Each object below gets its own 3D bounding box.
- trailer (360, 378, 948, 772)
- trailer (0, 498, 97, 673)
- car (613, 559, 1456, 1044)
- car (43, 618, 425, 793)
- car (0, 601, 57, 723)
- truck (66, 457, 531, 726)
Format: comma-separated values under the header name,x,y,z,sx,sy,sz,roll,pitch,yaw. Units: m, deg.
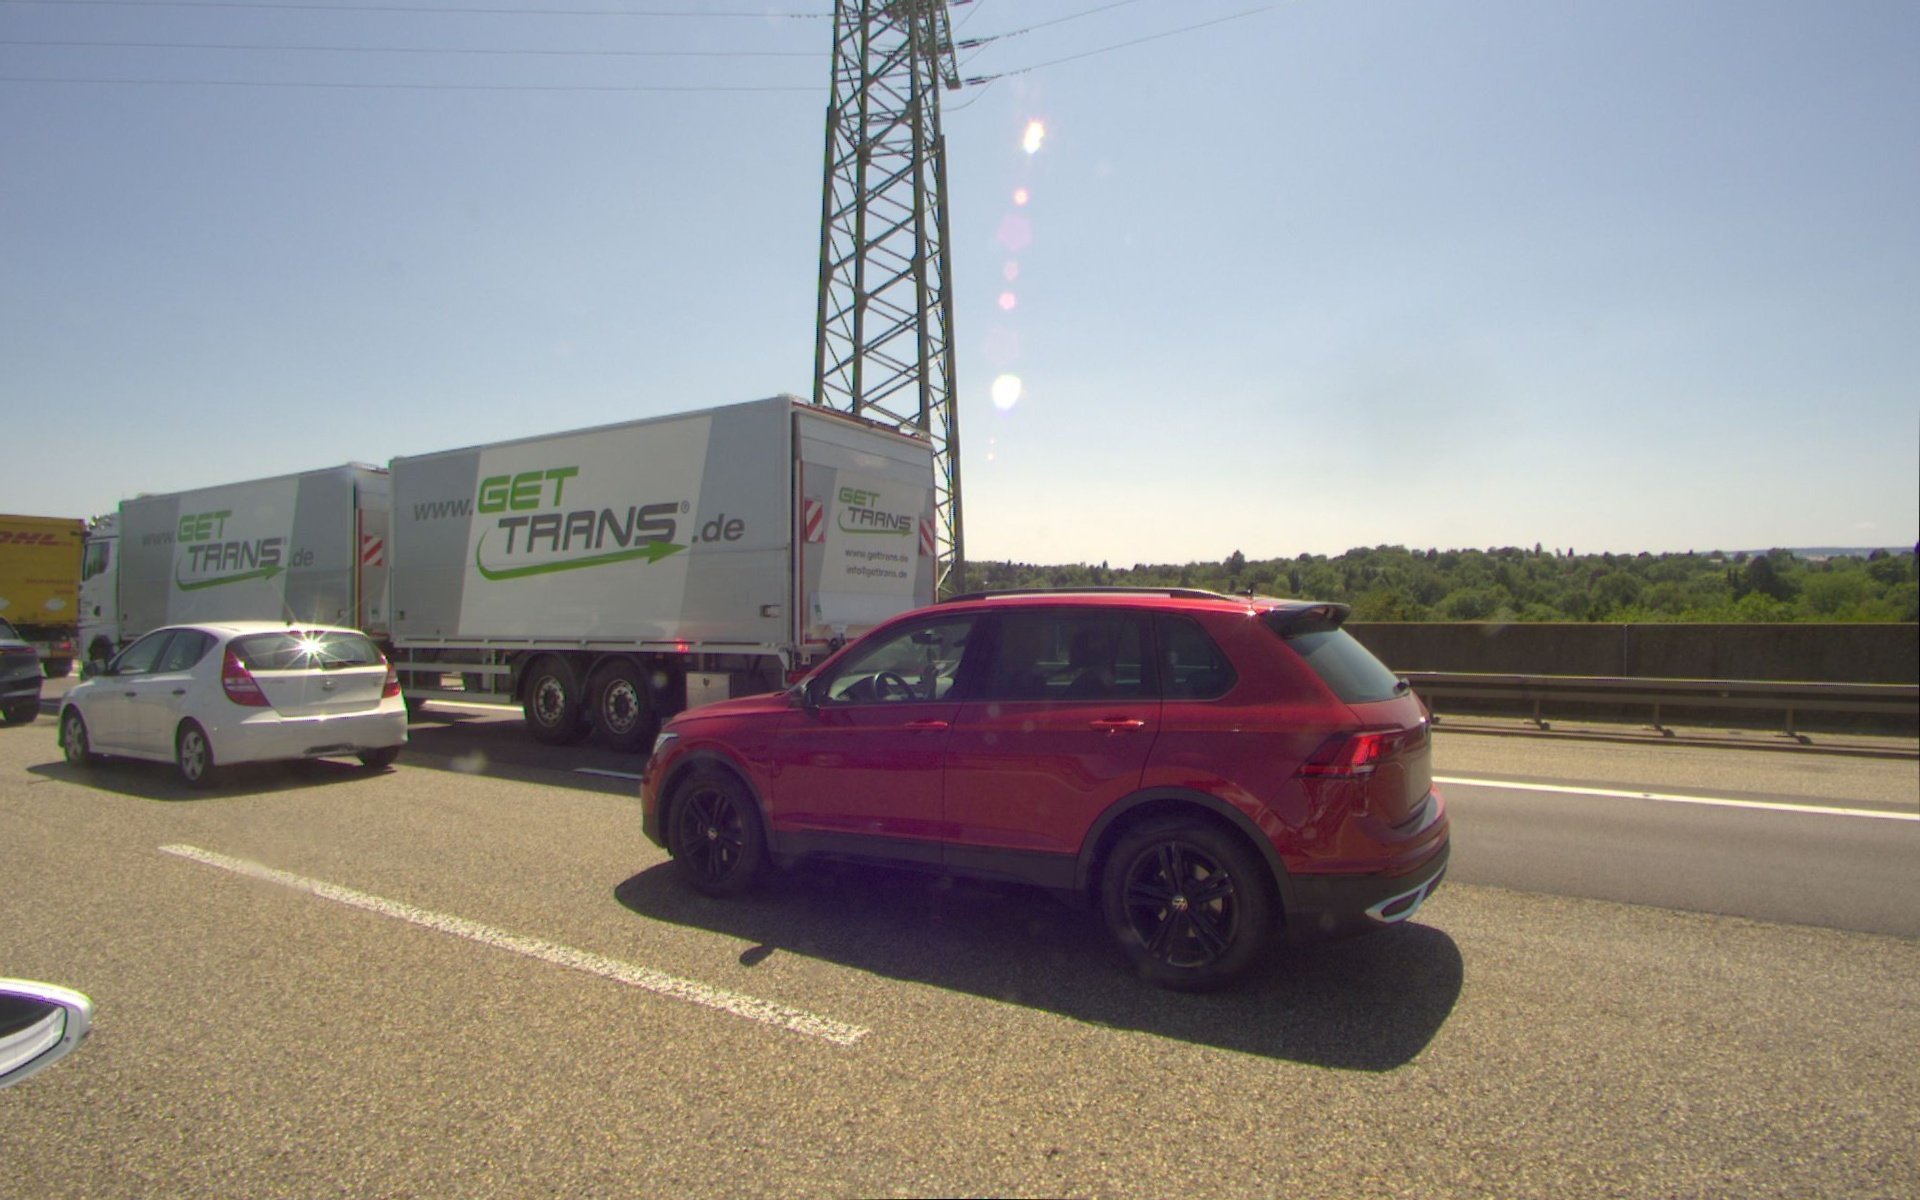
name,x,y,z,sx,sy,sz,roll,pitch,yaw
trailer,-4.180,-0.190,12.785,7.899,3.749,2.693,0,0,32
trailer,-27.106,-0.266,27.374,8.883,4.293,2.860,-1,-2,32
car,0.250,0.736,5.339,4.163,1.683,1.772,-1,-1,32
car,-7.581,0.926,10.357,4.231,1.474,1.785,-1,-1,32
car,-15.136,0.862,14.536,4.231,1.666,1.958,-1,-1,32
truck,-12.144,-0.061,17.767,10.851,3.696,2.652,0,0,32
